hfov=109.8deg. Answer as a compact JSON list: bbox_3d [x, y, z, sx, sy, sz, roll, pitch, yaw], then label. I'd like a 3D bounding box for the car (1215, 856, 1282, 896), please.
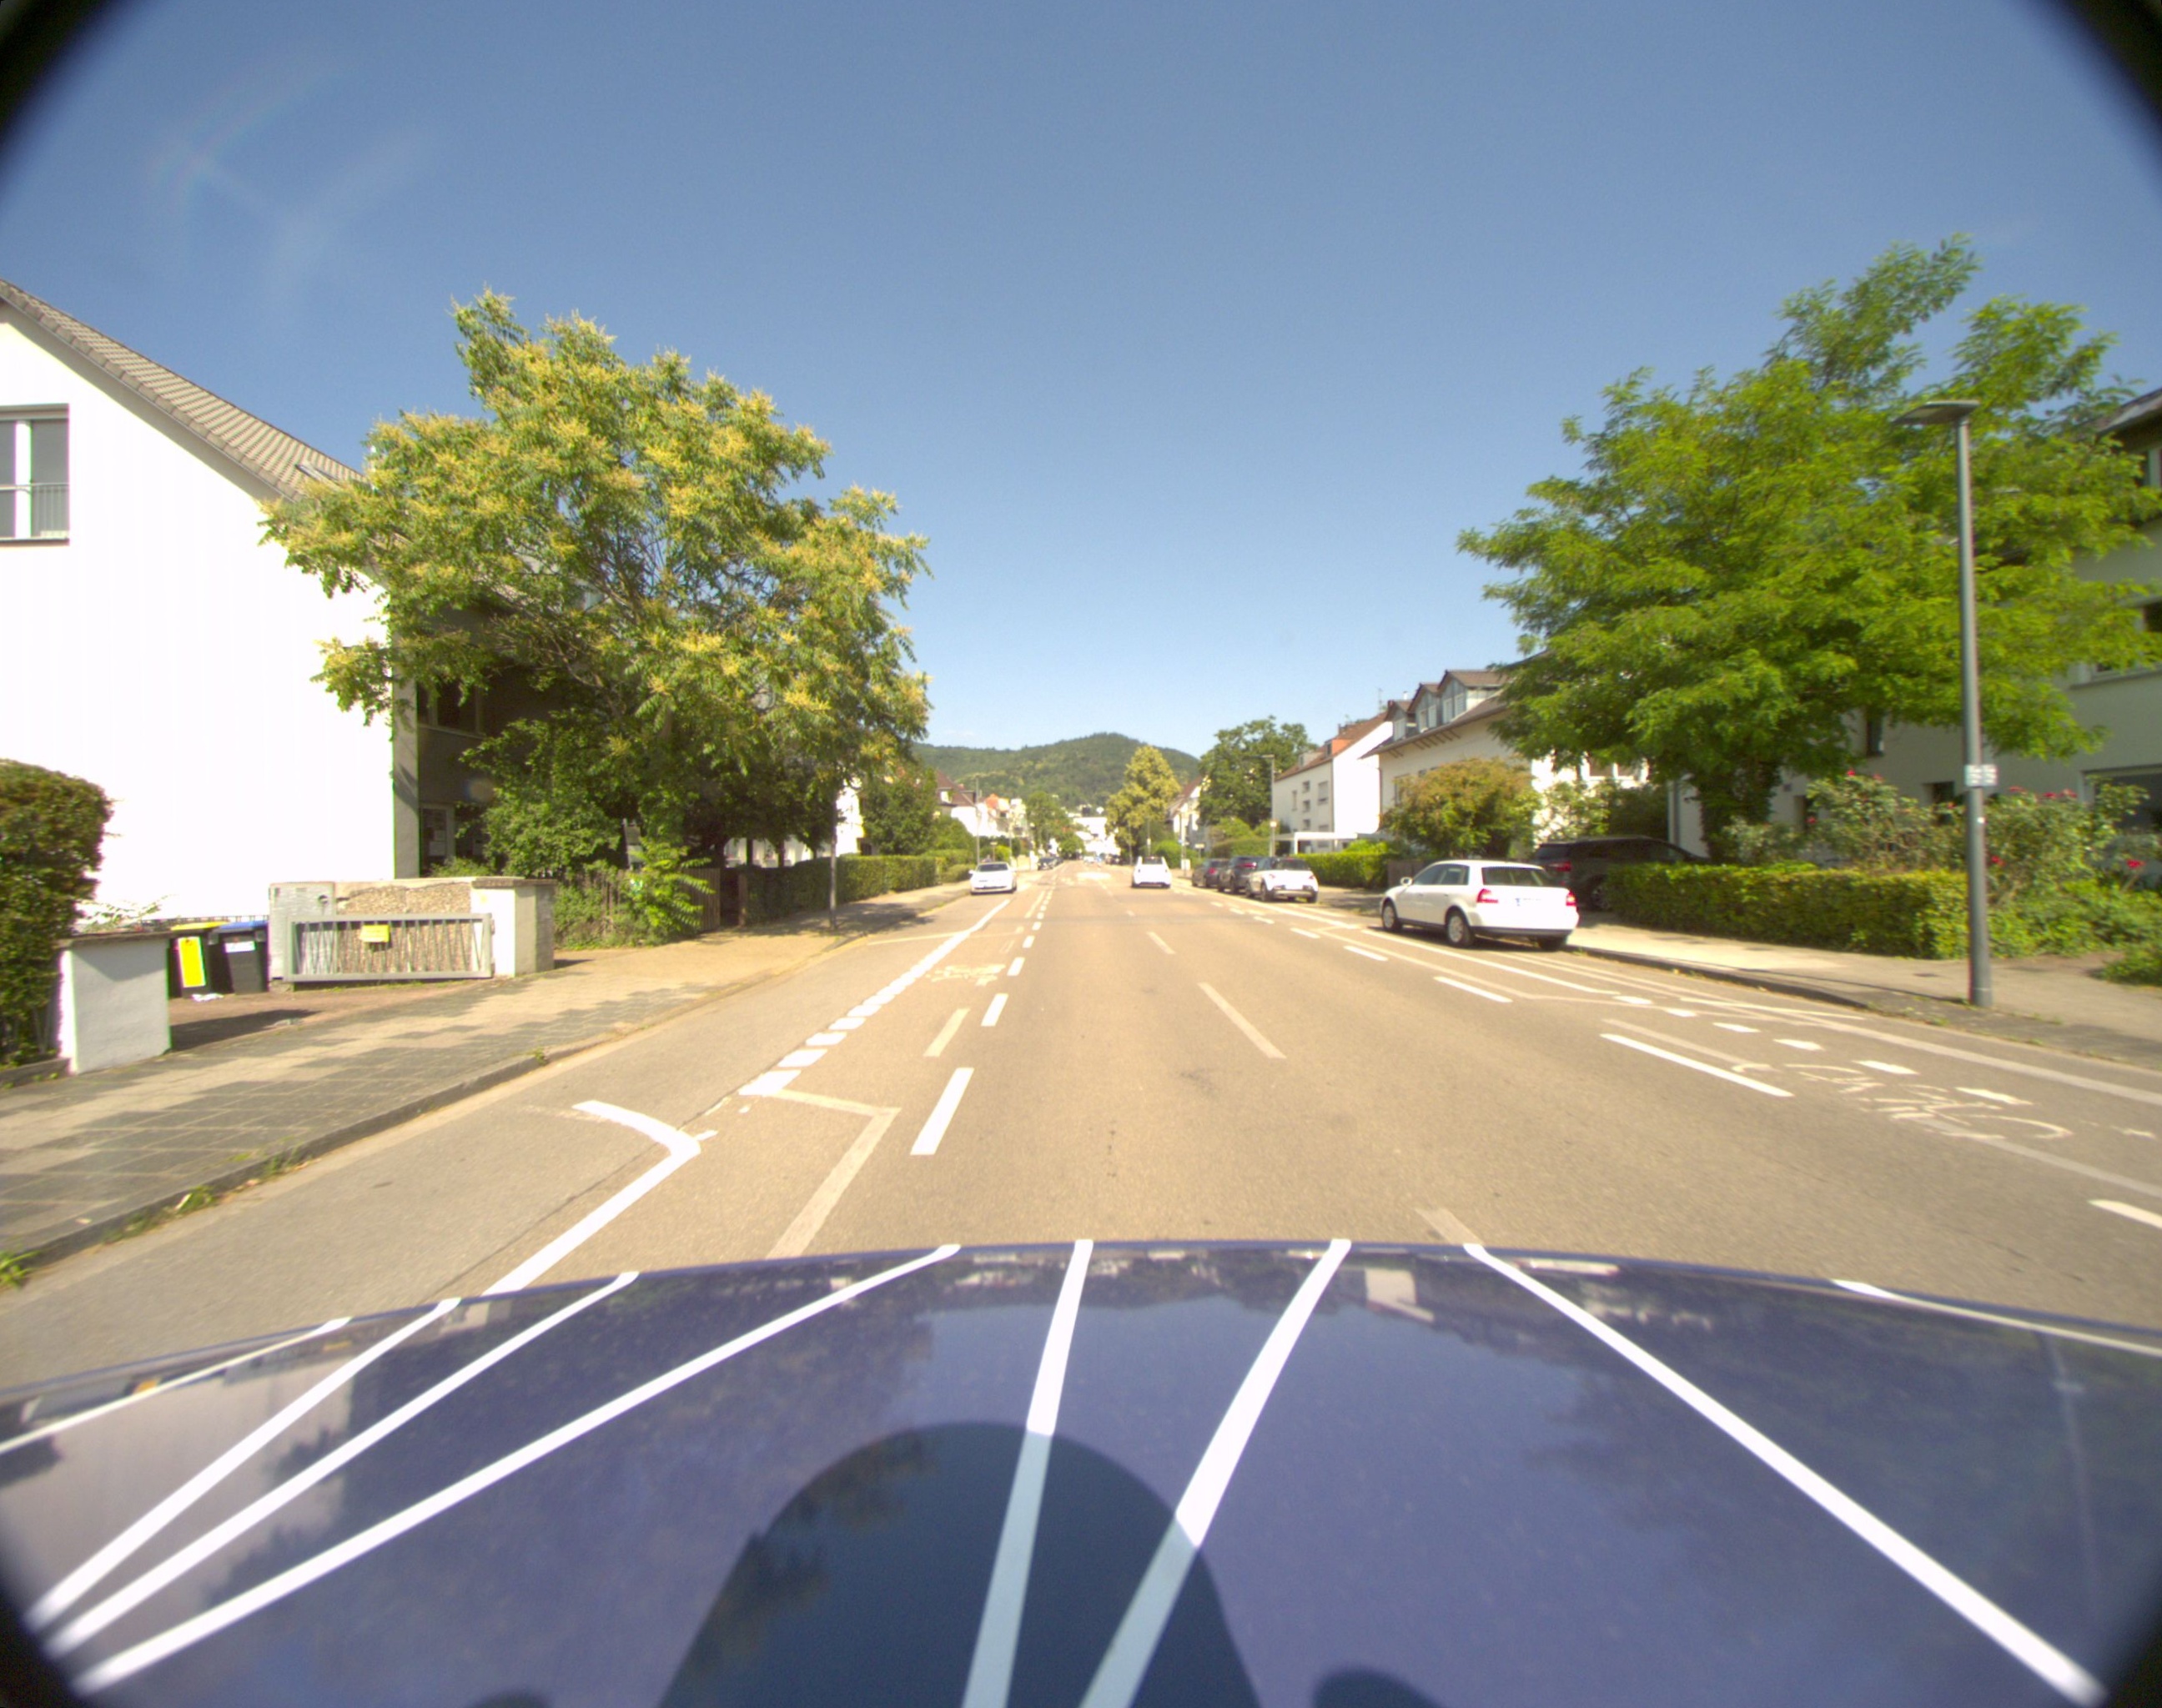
[{"bbox_3d":[6.587,0.838,30.259,1.789,1.431,4.110,0,0,1],"label":"car"}]

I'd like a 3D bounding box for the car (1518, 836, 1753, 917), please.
[{"bbox_3d":[12.824,0.521,17.872,3.993,1.749,2.002,-1,0,12],"label":"car"}]

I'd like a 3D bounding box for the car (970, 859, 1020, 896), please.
[{"bbox_3d":[-3.680,0.963,33.176,1.745,1.394,4.072,-3,1,-2],"label":"car"}]

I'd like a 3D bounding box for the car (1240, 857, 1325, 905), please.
[{"bbox_3d":[6.753,0.863,25.849,1.790,1.431,4.000,2,0,0],"label":"car"}]

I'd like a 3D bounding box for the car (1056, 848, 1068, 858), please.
[{"bbox_3d":[-2.969,-0.154,119.608,1.727,1.441,4.167,-3,1,-2],"label":"car"}]

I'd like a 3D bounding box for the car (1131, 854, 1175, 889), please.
[{"bbox_3d":[3.410,0.797,36.647,1.736,1.532,3.999,1,1,0],"label":"car"}]

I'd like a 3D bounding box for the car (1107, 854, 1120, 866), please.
[{"bbox_3d":[5.662,1.001,131.024,1.890,1.908,4.868,-2,-1,-1],"label":"car"}]

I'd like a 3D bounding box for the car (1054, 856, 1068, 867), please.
[{"bbox_3d":[-2.819,1.022,107.603,1.741,1.321,4.075,-3,1,0],"label":"car"}]

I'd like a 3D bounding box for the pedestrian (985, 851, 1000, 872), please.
[{"bbox_3d":[-8.193,0.694,70.523,0.903,1.862,1.186,-1,1,-33],"label":"pedestrian"}]

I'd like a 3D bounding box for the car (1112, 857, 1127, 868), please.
[{"bbox_3d":[5.961,1.323,117.815,1.856,1.601,4.448,-2,-1,-2],"label":"car"}]

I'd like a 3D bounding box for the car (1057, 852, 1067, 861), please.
[{"bbox_3d":[-3.754,0.529,149.740,1.701,1.573,4.899,-3,0,-3],"label":"car"}]

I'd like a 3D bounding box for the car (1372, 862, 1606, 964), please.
[{"bbox_3d":[6.835,0.904,13.304,1.790,1.431,3.999,2,0,-2],"label":"car"}]

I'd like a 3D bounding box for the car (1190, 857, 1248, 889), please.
[{"bbox_3d":[6.547,0.874,36.473,1.790,1.431,4.153,1,0,-3],"label":"car"}]

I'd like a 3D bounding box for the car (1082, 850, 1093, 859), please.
[{"bbox_3d":[1.243,0.136,142.244,1.920,1.657,4.505,1,1,-1],"label":"car"}]

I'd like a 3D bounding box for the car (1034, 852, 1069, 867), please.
[{"bbox_3d":[-3.320,0.627,87.517,1.737,1.460,4.352,-1,2,34],"label":"car"}]
